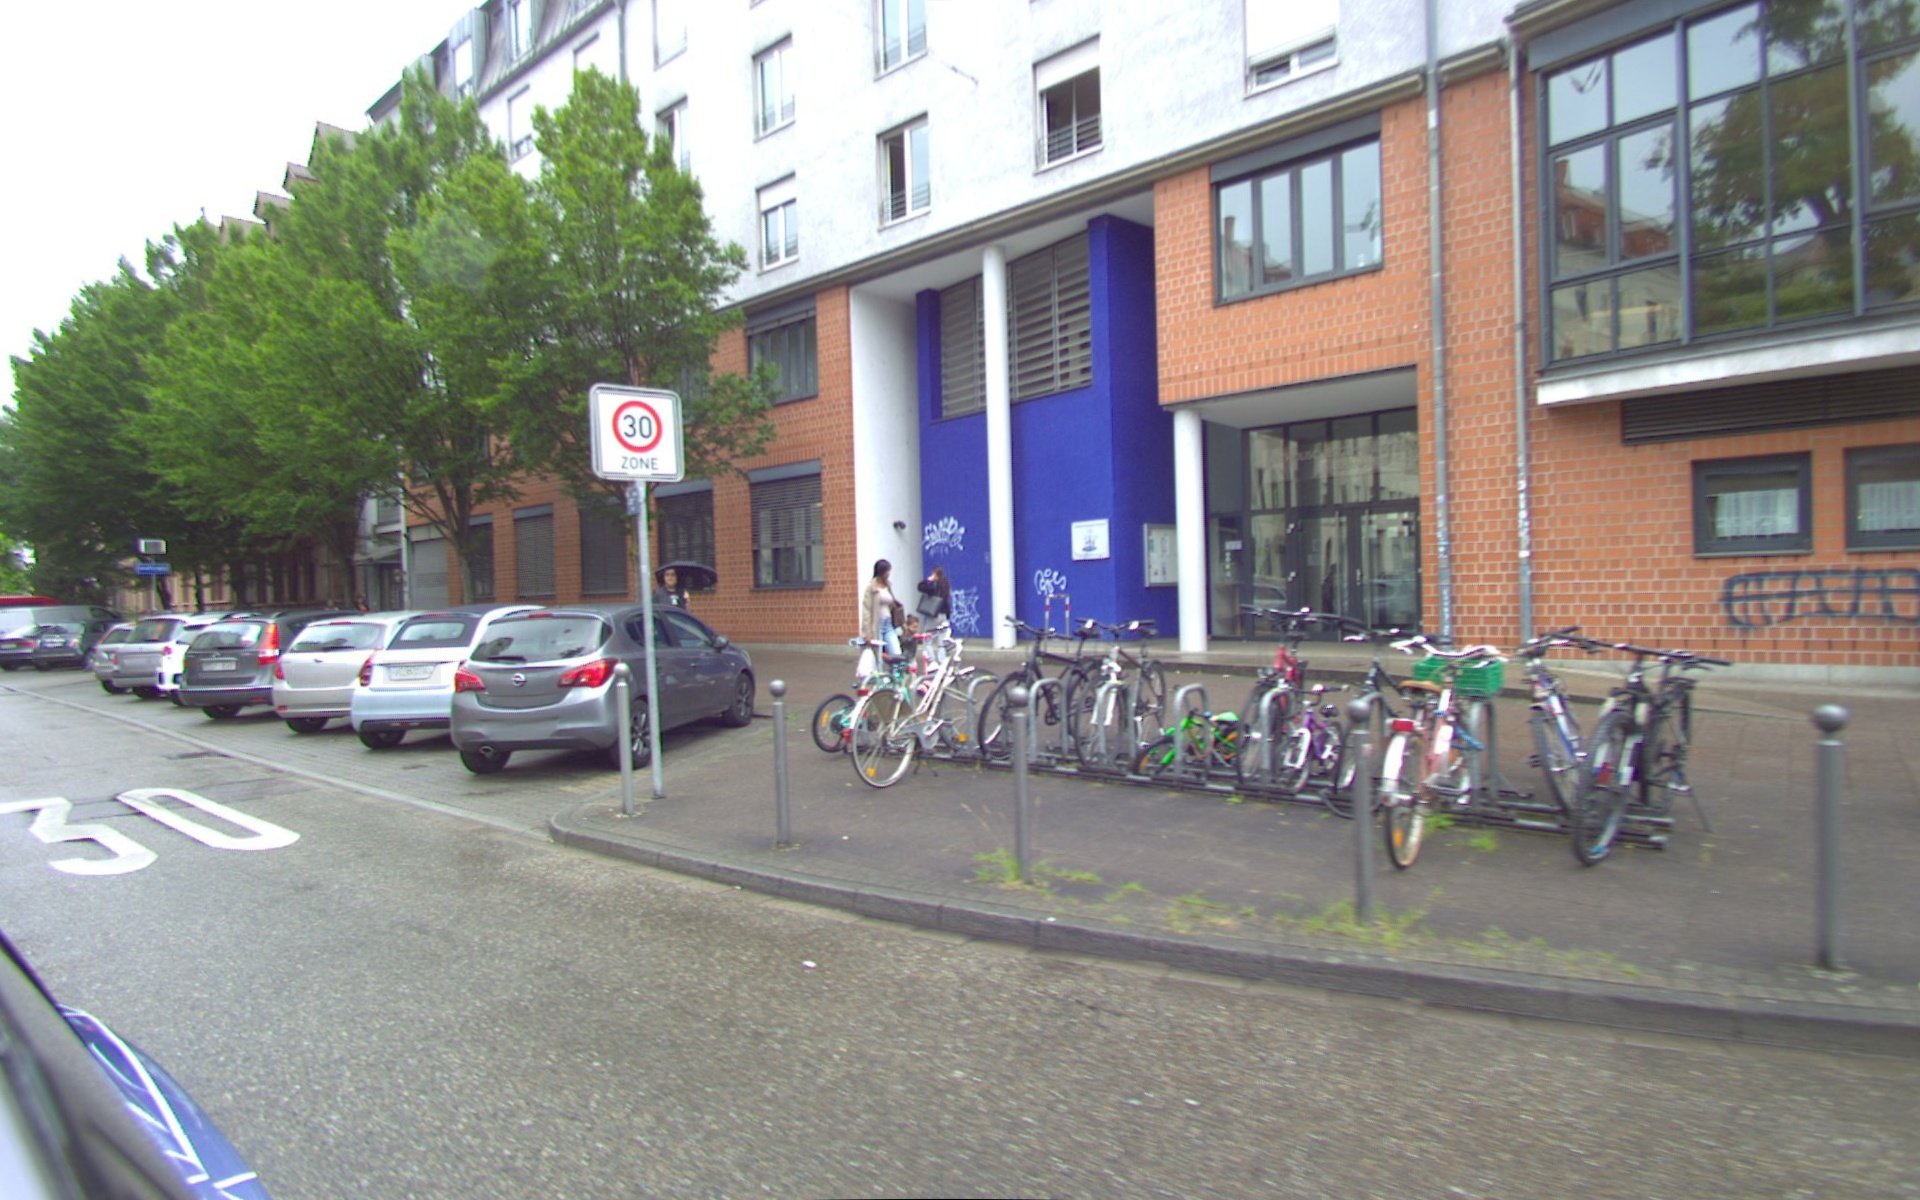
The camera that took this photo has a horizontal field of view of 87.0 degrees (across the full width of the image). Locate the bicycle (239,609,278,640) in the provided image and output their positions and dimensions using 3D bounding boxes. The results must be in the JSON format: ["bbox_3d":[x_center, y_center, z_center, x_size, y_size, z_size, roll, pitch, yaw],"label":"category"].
[{"bbox_3d":[-28.832,1.002,41.583,2.412,1.202,0.660,-2,4,42],"label":"bicycle"}]

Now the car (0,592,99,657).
[{"bbox_3d":[-39.405,1.039,41.825,2.207,2.560,5.551,-2,1,13],"label":"car"}]

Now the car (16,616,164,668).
[{"bbox_3d":[-26.643,1.254,31.145,1.627,1.446,3.482,-1,0,-2],"label":"car"}]

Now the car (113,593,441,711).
[{"bbox_3d":[-11.953,0.809,18.185,2.314,1.550,4.509,-1,4,12],"label":"car"}]

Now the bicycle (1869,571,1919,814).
[{"bbox_3d":[5.131,0.496,4.512,0.623,1.221,1.810,-1,2,5],"label":"bicycle"}]

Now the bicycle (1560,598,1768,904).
[{"bbox_3d":[3.511,0.598,4.958,0.594,1.105,2.095,-2,2,41],"label":"bicycle"}]

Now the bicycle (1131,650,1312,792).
[{"bbox_3d":[1.879,0.791,7.098,0.506,0.736,1.705,-2,2,41],"label":"bicycle"}]

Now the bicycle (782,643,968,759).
[{"bbox_3d":[-0.689,0.830,8.761,0.506,0.775,1.704,-2,2,41],"label":"bicycle"}]

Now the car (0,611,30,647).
[{"bbox_3d":[-52.063,1.654,53.039,2.543,1.798,4.534,-1,3,40],"label":"car"}]

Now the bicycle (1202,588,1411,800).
[{"bbox_3d":[2.359,0.549,6.758,0.568,1.176,1.782,-1,2,45],"label":"bicycle"}]

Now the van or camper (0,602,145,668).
[{"bbox_3d":[-31.861,1.184,35.761,2.304,1.967,4.699,-3,2,-1],"label":"van or camper"}]

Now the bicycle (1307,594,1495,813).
[{"bbox_3d":[2.810,0.558,6.328,0.506,1.105,1.894,-2,2,41],"label":"bicycle"}]

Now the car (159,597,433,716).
[{"bbox_3d":[-10.006,0.777,15.572,1.662,1.553,3.377,-2,1,9],"label":"car"}]

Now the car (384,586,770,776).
[{"bbox_3d":[-3.571,0.659,10.285,1.967,1.518,3.819,-2,1,10],"label":"car"}]

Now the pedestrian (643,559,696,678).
[{"bbox_3d":[-4.285,0.259,14.928,0.433,1.720,0.605,1,2,41],"label":"pedestrian"}]

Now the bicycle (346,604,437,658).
[{"bbox_3d":[-14.516,0.777,25.873,0.553,1.160,1.878,-1,5,38],"label":"bicycle"}]

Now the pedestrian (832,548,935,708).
[{"bbox_3d":[-0.892,0.308,11.854,0.815,1.765,0.758,-5,2,-43],"label":"pedestrian"}]

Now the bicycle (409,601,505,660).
[{"bbox_3d":[-11.734,0.688,23.661,0.553,1.160,1.878,-1,5,38],"label":"bicycle"}]

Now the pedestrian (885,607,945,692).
[{"bbox_3d":[-0.578,0.619,12.931,0.465,1.024,0.542,-5,2,-42],"label":"pedestrian"}]

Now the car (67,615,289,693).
[{"bbox_3d":[-16.381,1.070,21.446,1.664,1.463,3.708,-1,0,5],"label":"car"}]

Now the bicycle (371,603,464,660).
[{"bbox_3d":[-13.308,0.753,24.878,0.553,1.160,1.878,-1,5,38],"label":"bicycle"}]

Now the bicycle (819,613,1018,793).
[{"bbox_3d":[-0.255,0.697,7.551,0.505,1.105,1.707,-2,1,35],"label":"bicycle"}]

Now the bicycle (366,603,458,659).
[{"bbox_3d":[-13.629,0.744,25.230,0.553,1.160,1.878,-1,5,38],"label":"bicycle"}]

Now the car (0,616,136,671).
[{"bbox_3d":[-29.007,1.369,32.516,1.743,1.457,3.979,-3,2,0],"label":"car"}]

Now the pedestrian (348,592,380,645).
[{"bbox_3d":[-18.630,0.571,31.624,0.588,1.613,0.562,-2,3,36],"label":"pedestrian"}]

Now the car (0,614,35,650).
[{"bbox_3d":[-47.666,1.665,48.602,1.827,1.642,4.426,-3,3,14],"label":"car"}]

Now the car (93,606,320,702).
[{"bbox_3d":[-14.301,0.960,19.451,1.615,1.667,3.378,-1,0,8],"label":"car"}]

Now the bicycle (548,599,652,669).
[{"bbox_3d":[-7.225,0.659,20.398,0.553,1.160,1.878,-1,5,38],"label":"bicycle"}]

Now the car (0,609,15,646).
[{"bbox_3d":[-56.293,1.636,56.266,1.853,2.094,5.227,-1,1,16],"label":"car"}]

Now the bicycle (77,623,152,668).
[{"bbox_3d":[-24.137,1.293,28.875,2.207,1.166,0.744,-3,0,25],"label":"bicycle"}]

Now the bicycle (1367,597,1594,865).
[{"bbox_3d":[2.913,0.592,5.528,0.594,1.105,2.111,-2,2,41],"label":"bicycle"}]

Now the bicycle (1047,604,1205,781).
[{"bbox_3d":[1.297,0.629,7.624,0.505,1.105,1.709,-2,1,33],"label":"bicycle"}]

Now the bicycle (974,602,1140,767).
[{"bbox_3d":[0.826,0.616,8.126,0.505,1.105,1.707,-2,1,35],"label":"bicycle"}]

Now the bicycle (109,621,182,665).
[{"bbox_3d":[-23.821,1.252,29.592,2.134,1.166,0.778,-3,0,25],"label":"bicycle"}]

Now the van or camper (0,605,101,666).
[{"bbox_3d":[-34.700,1.318,37.363,1.760,1.990,4.439,-2,2,7],"label":"van or camper"}]

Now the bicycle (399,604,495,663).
[{"bbox_3d":[-12.185,0.772,24.093,0.553,1.160,1.878,-1,5,38],"label":"bicycle"}]

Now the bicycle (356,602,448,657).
[{"bbox_3d":[-14.077,0.736,25.564,0.553,1.160,1.878,-1,5,38],"label":"bicycle"}]

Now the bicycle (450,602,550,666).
[{"bbox_3d":[-10.046,0.724,22.174,0.553,1.160,1.878,-1,5,38],"label":"bicycle"}]

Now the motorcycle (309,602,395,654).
[{"bbox_3d":[-16.997,0.770,28.340,0.657,1.234,1.862,-1,4,44],"label":"motorcycle"}]

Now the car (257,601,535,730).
[{"bbox_3d":[-7.588,0.807,14.000,1.661,1.468,3.379,-2,1,7],"label":"car"}]

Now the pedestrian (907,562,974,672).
[{"bbox_3d":[-0.290,0.244,15.075,0.700,1.562,0.608,-5,2,-43],"label":"pedestrian"}]

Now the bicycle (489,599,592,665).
[{"bbox_3d":[-8.721,0.643,21.108,0.553,1.160,1.878,-1,5,38],"label":"bicycle"}]

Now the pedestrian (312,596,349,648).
[{"bbox_3d":[-19.202,0.670,30.878,0.586,1.507,0.682,-2,3,35],"label":"pedestrian"}]

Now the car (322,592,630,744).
[{"bbox_3d":[-5.602,0.707,12.190,1.662,1.518,3.376,-2,1,10],"label":"car"}]
